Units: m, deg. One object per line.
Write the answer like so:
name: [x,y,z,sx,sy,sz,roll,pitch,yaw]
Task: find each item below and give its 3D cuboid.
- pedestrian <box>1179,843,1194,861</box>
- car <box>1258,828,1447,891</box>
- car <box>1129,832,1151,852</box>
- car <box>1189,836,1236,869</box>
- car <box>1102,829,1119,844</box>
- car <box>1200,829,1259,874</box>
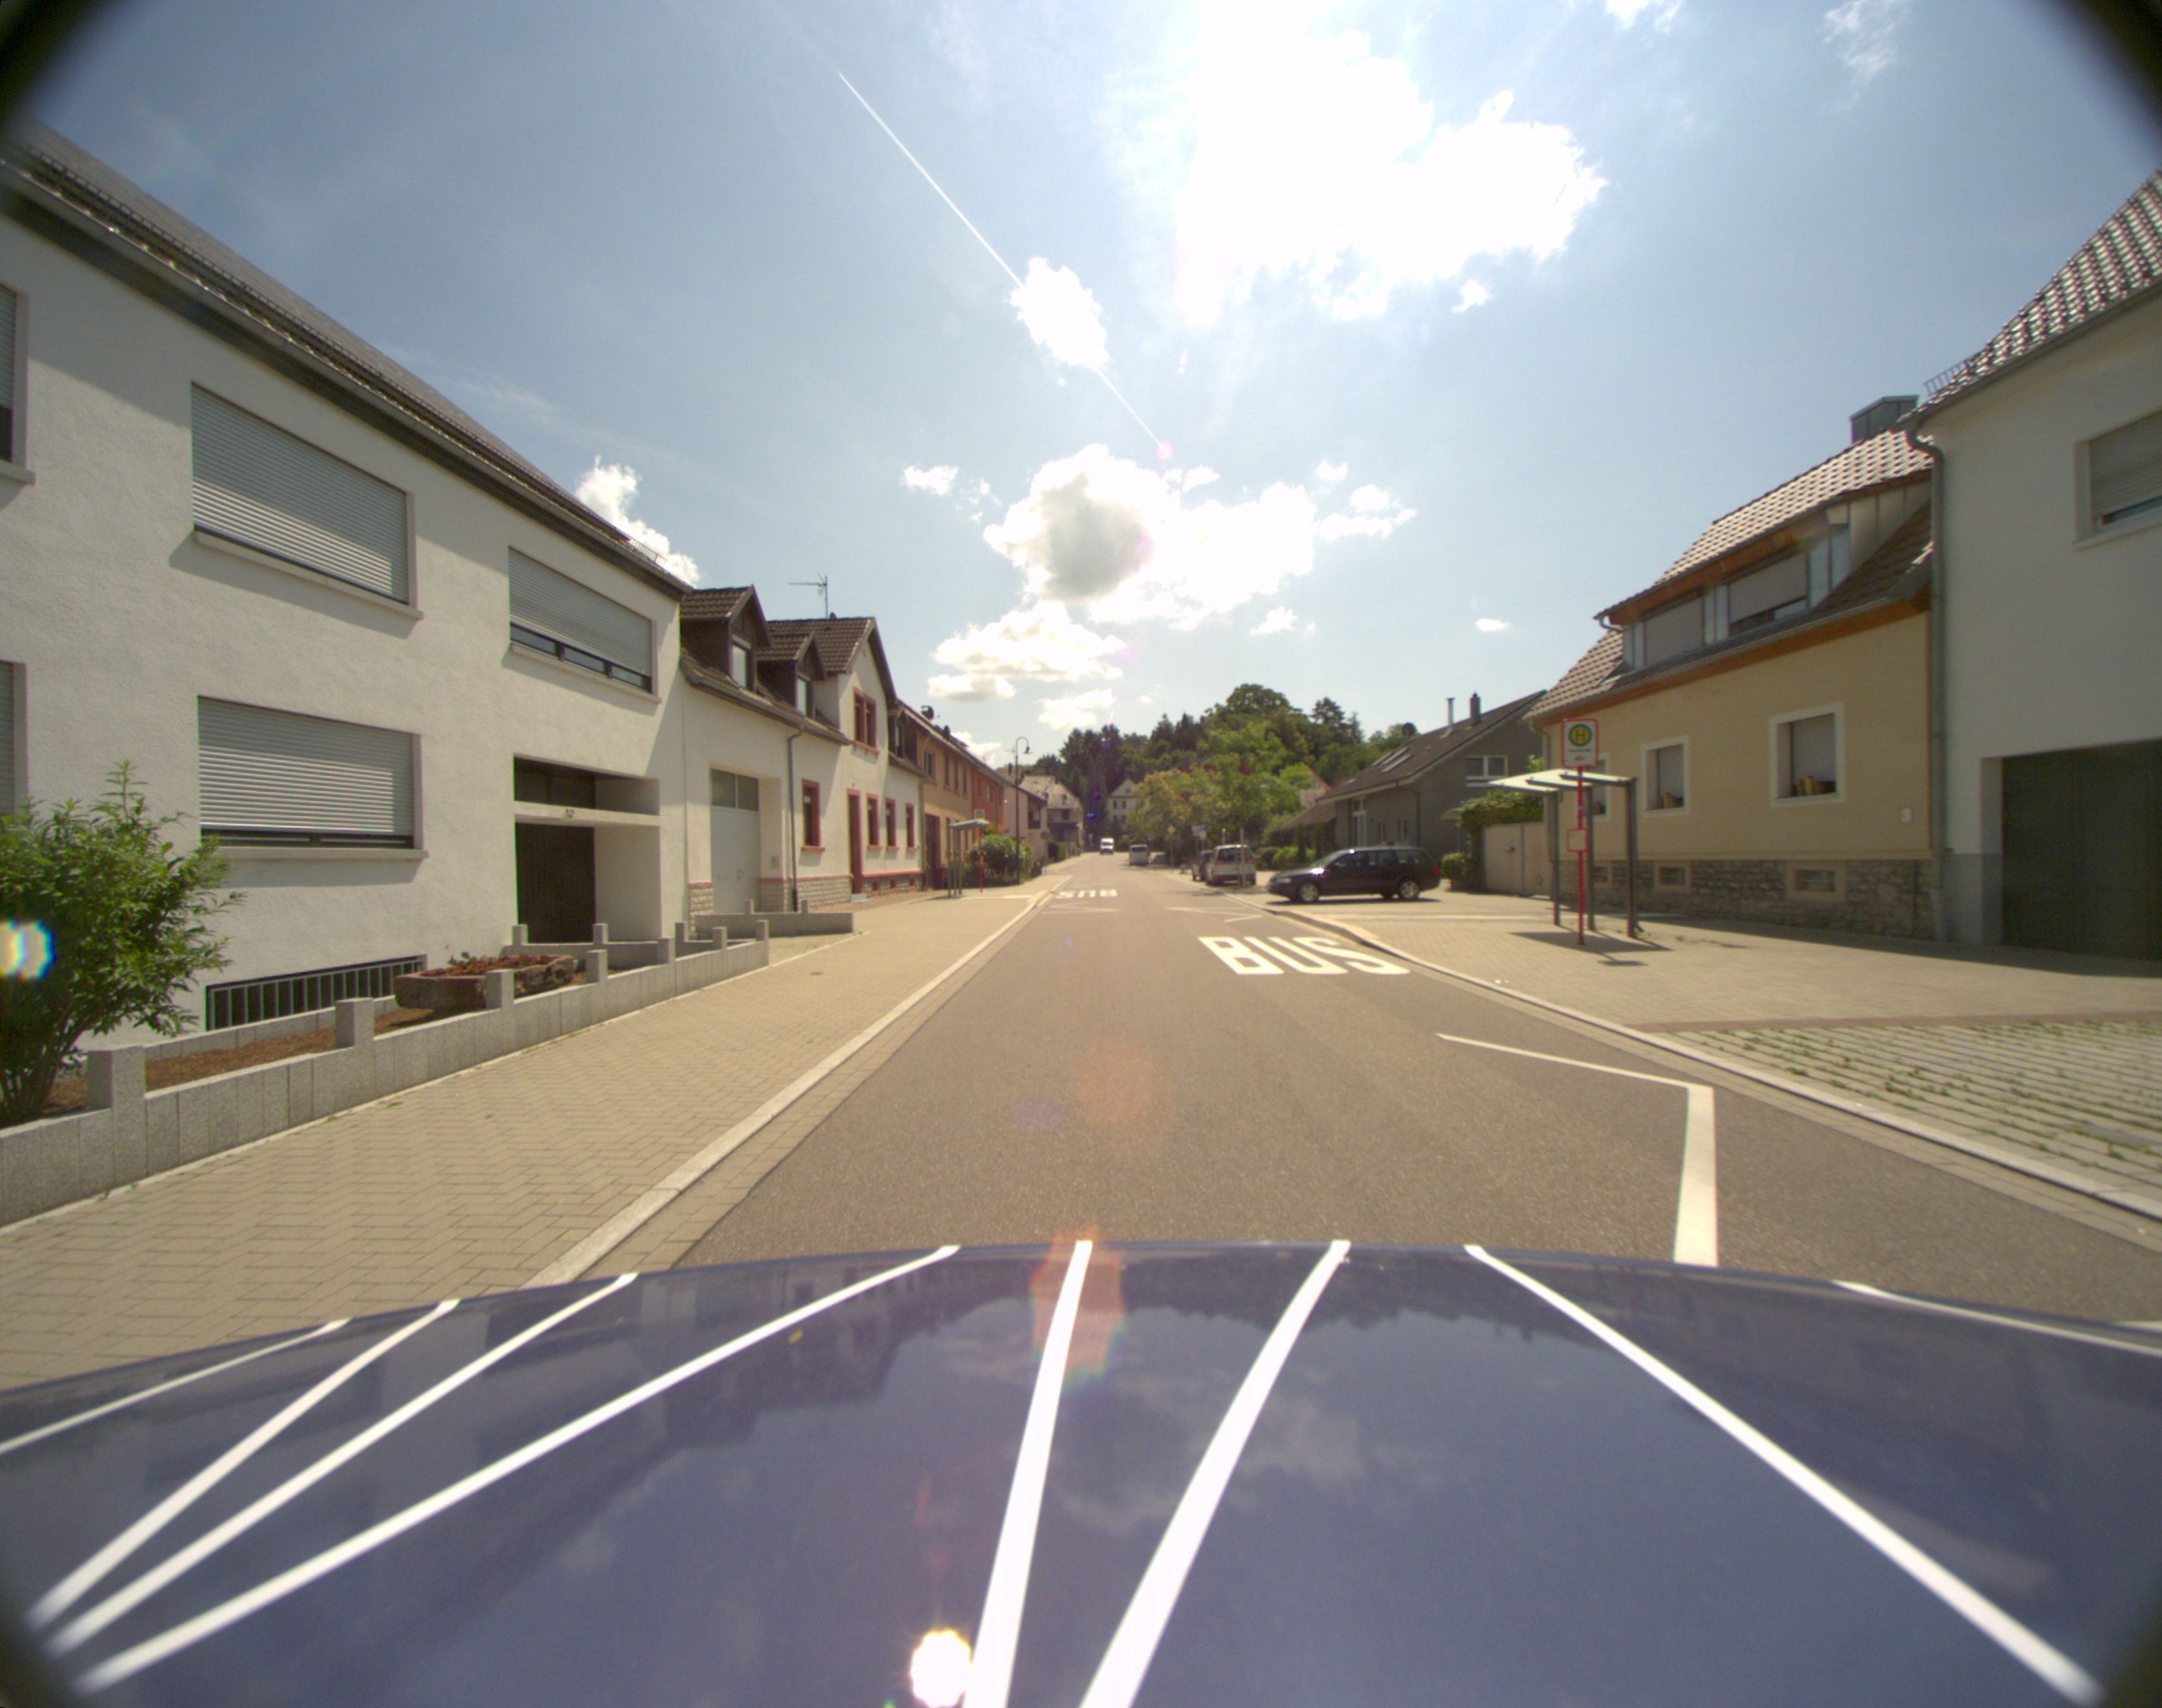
pedestrian: [7.225,-0.139,51.903,0.815,1.135,0.885,-3,2,-2]
car: [7.506,0.142,21.372,4.598,1.508,1.901,-2,1,2]
car: [5.967,-1.242,77.550,1.998,1.968,3.999,-1,1,1]
car: [6.751,-0.074,39.365,1.727,1.515,3.909,-3,0,0]
car: [4.559,-2.739,119.316,2.489,2.306,5.599,-3,1,1]
car: [6.406,-0.080,33.305,1.843,1.737,4.687,-3,0,3]
